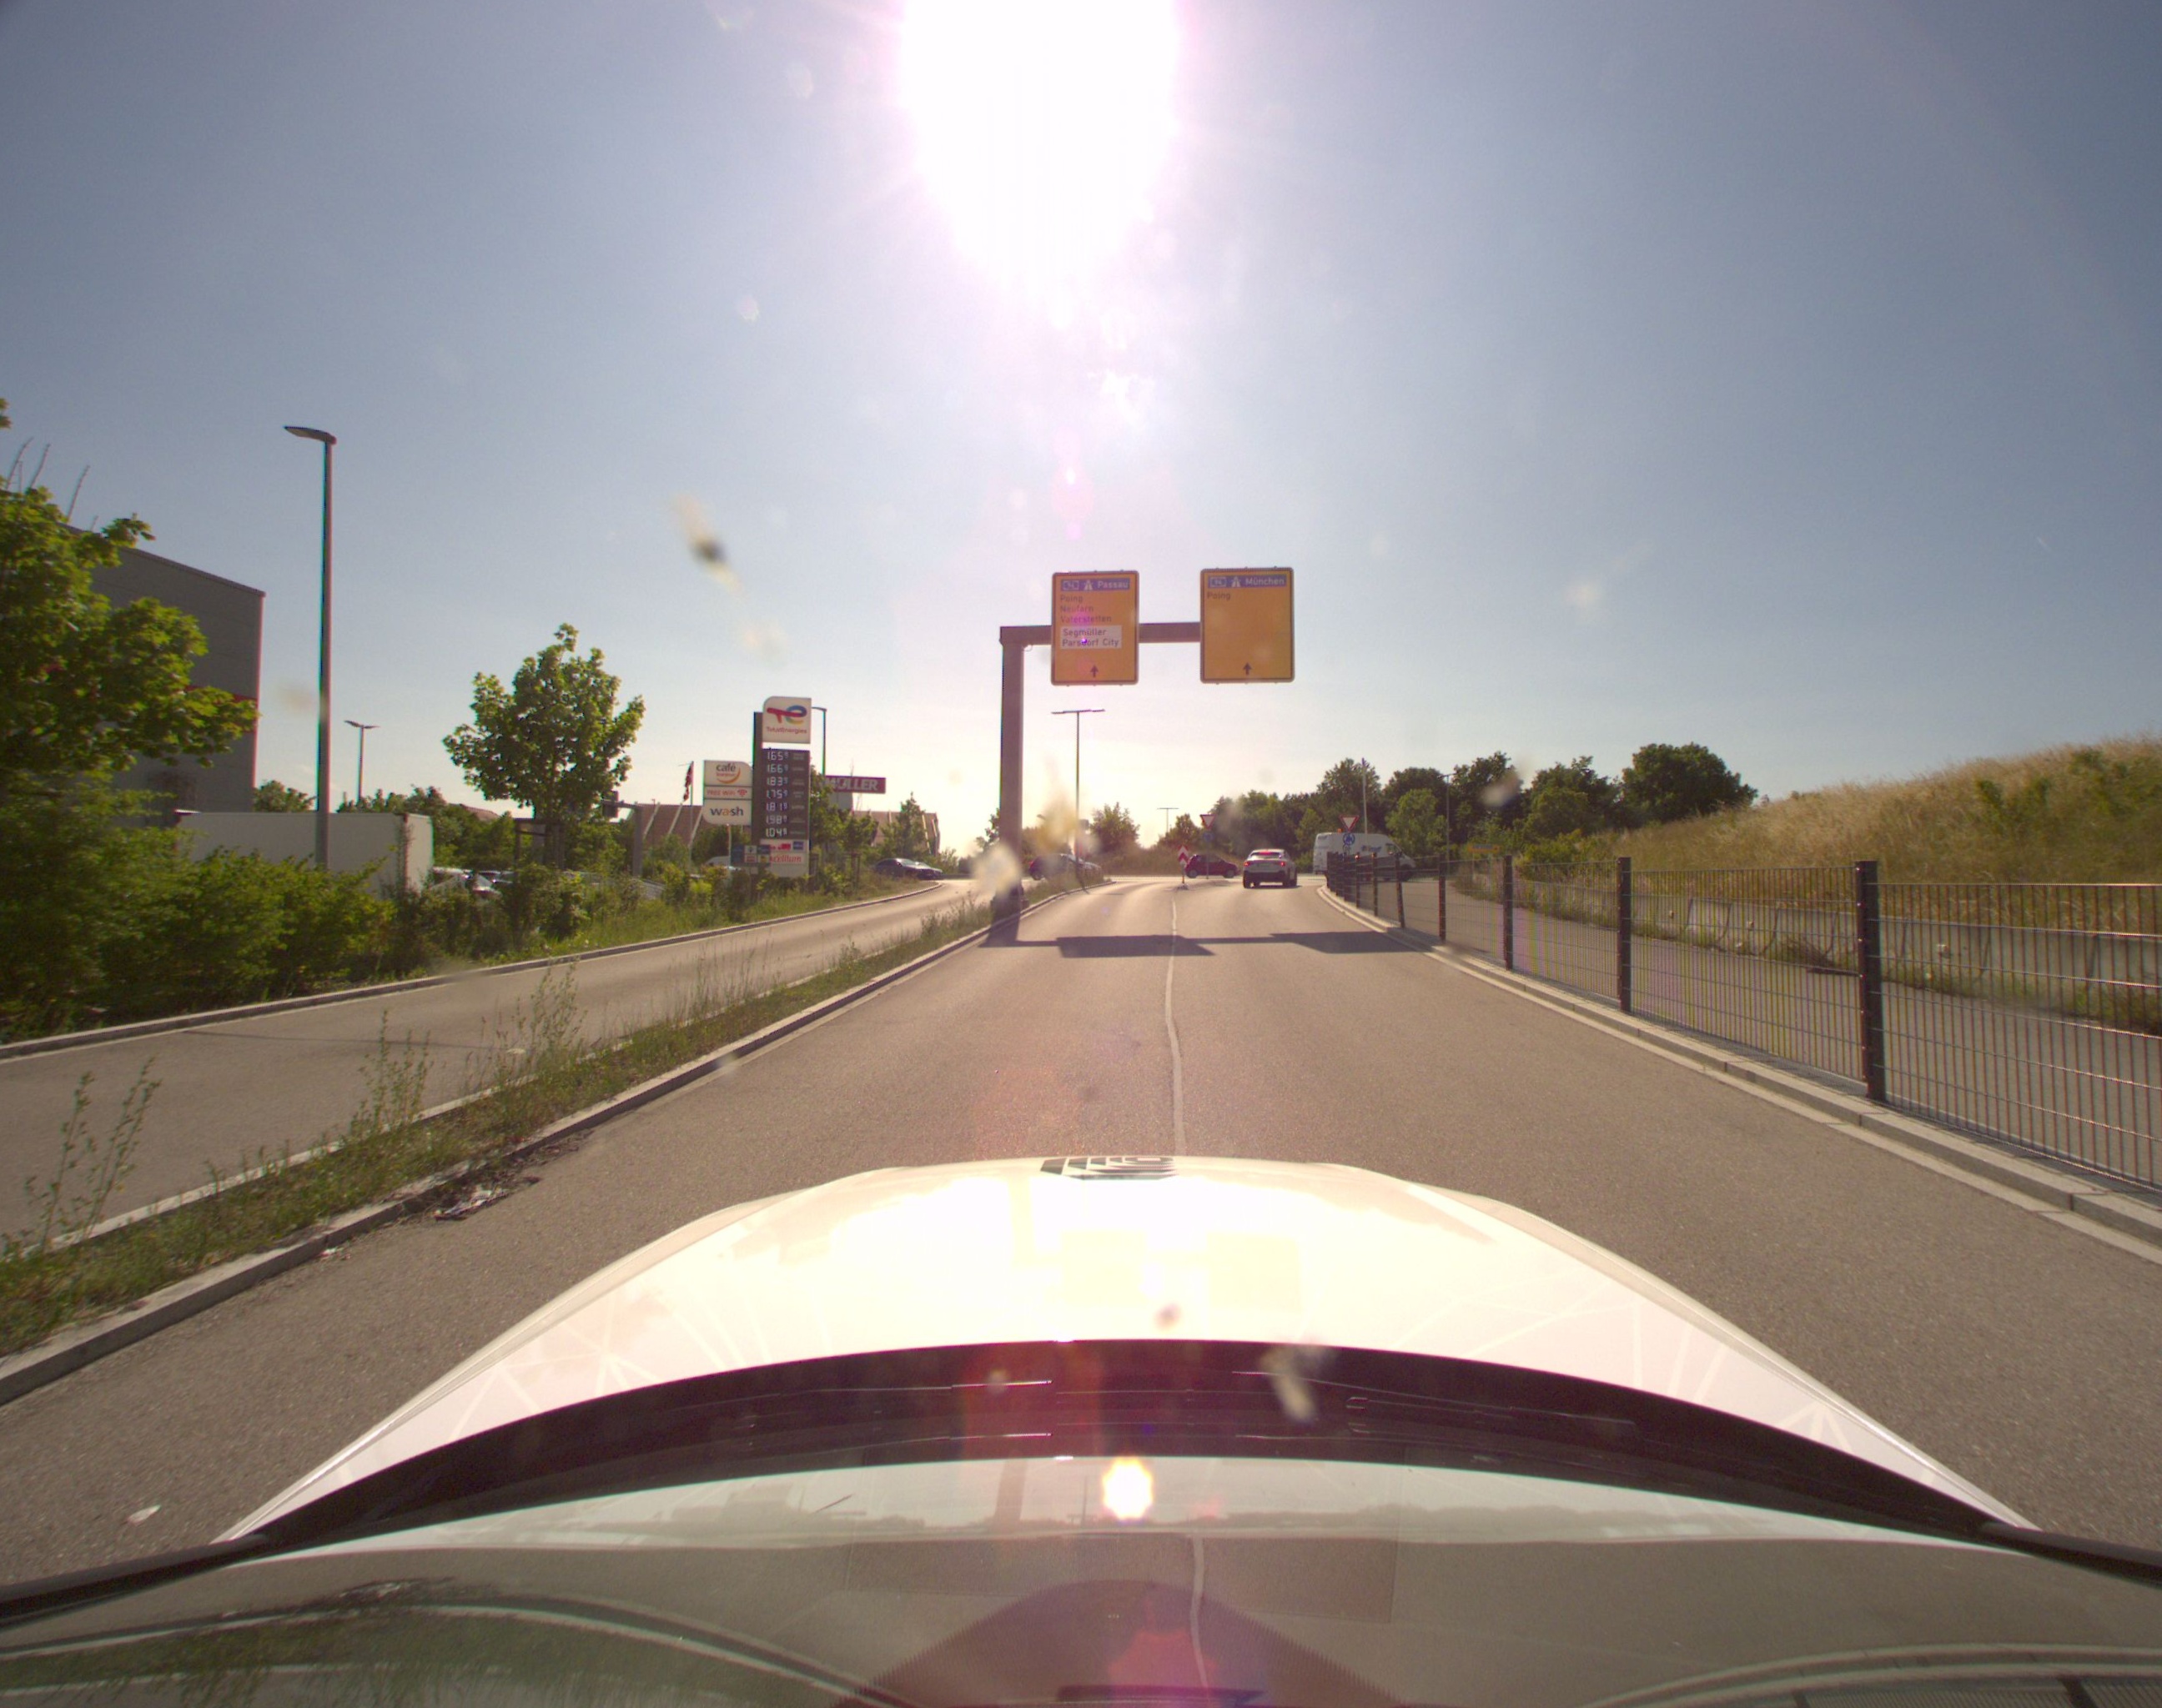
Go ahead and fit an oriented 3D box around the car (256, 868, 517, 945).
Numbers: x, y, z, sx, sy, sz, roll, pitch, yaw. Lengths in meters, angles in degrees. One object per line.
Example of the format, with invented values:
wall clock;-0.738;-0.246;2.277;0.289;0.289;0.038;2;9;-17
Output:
car;-15.062;1.099;17.964;4.005;1.536;1.705;1;-1;-24

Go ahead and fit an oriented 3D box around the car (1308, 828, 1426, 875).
car;16.129;-0.111;46.015;6.181;2.554;2.080;1;-1;-14

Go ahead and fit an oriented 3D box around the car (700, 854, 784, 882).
car;-29.105;1.207;70.133;6.248;2.234;2.034;1;-1;-7

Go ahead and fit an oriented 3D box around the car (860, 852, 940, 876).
car;-11.503;0.615;51.578;4.811;1.452;2.012;0;-1;30

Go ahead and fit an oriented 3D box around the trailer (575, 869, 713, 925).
trailer;-12.390;1.203;23.287;3.187;1.484;1.540;1;-1;-16

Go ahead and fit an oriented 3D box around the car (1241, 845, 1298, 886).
car;7.914;0.473;33.992;1.826;1.596;4.346;0;-1;19

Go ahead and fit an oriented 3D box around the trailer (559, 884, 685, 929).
trailer;-12.094;1.366;21.614;2.780;1.086;1.310;1;-1;-25

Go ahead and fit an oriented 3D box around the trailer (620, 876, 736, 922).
trailer;-12.323;1.370;25.053;2.903;1.322;1.384;1;-1;-11

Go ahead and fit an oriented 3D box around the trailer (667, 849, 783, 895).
trailer;-13.074;0.665;29.930;3.706;1.452;1.692;4;-2;-29

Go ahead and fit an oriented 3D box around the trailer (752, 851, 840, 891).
trailer;-13.613;0.759;38.926;3.707;1.772;1.791;-1;0;-29

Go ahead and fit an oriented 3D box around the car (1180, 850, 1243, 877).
car;8.150;0.605;51.131;3.710;1.618;1.873;1;-1;0

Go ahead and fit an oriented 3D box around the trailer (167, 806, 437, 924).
trailer;-14.457;0.213;15.380;3.246;2.014;1.733;1;-1;-26

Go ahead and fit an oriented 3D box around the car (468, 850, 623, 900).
car;-17.546;0.653;26.981;1.788;1.483;4.505;1;0;6

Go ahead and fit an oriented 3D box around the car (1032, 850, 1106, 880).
car;-0.660;0.622;46.427;3.923;1.618;1.824;1;-1;11
